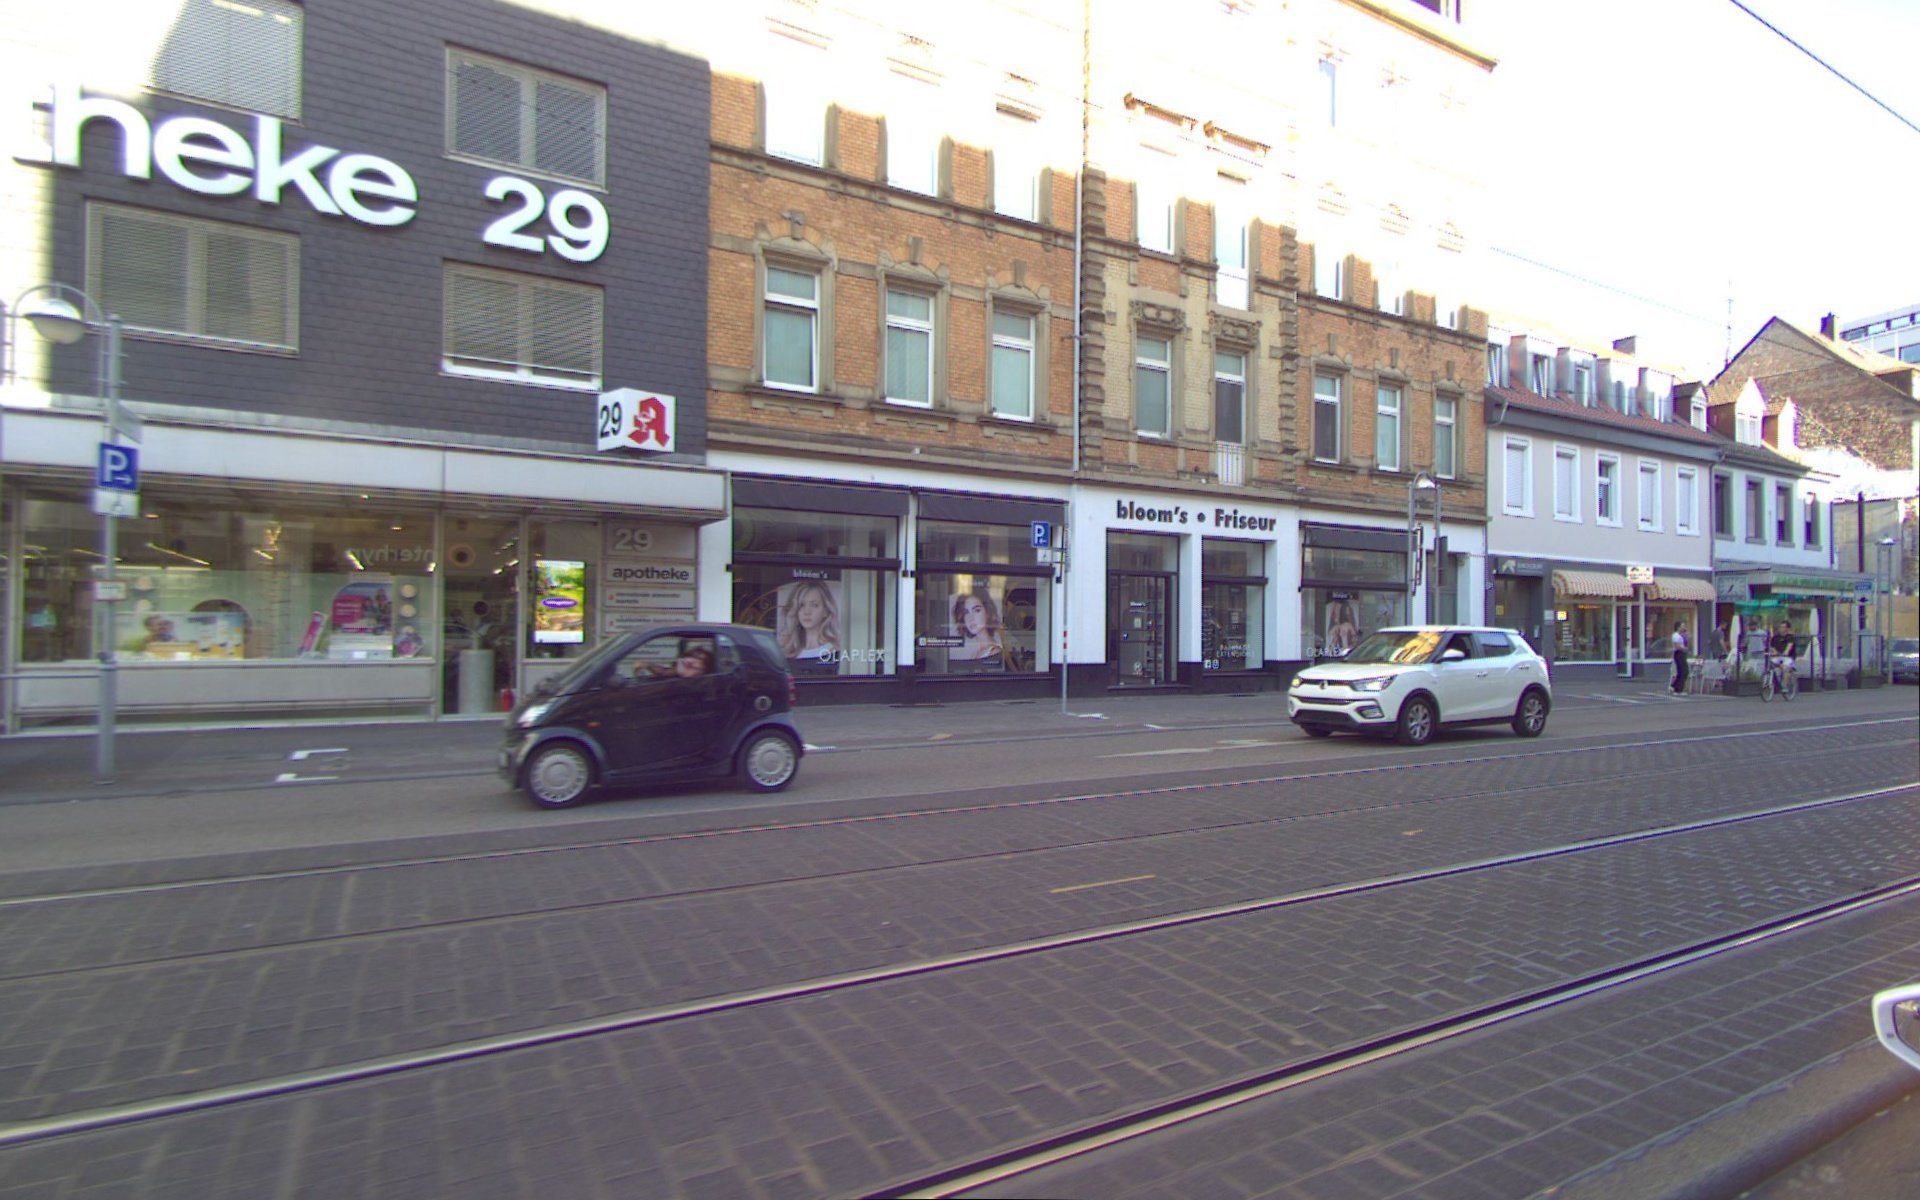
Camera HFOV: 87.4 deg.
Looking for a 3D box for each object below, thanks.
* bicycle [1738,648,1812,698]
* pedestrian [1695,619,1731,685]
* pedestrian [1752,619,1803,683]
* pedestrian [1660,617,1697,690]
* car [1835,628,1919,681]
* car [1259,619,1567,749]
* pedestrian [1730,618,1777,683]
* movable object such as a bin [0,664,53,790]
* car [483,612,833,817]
[{"bbox_3d":[19.109,1.701,23.555,1.926,1.130,0.576,1,-1,-25],"label":"bicycle"},{"bbox_3d":[21.621,1.481,28.842,0.636,1.847,0.652,1,-1,-35],"label":"pedestrian"},{"bbox_3d":[19.217,1.195,23.609,0.862,1.463,0.622,2,-1,-25],"label":"pedestrian"},{"bbox_3d":[18.059,1.341,25.248,0.603,1.799,0.718,0,-1,22],"label":"pedestrian"},{"bbox_3d":[30.746,1.786,32.719,4.702,1.552,1.984,3,-1,-31],"label":"car"},{"bbox_3d":[6.506,1.126,14.365,4.211,1.615,1.882,1,-3,-29],"label":"car"},{"bbox_3d":[22.660,1.429,28.686,0.680,1.799,0.881,1,-1,-31],"label":"pedestrian"},{"bbox_3d":[-9.163,1.174,9.444,0.690,1.077,1.094,1,0,-29],"label":"movable object such as a bin"},{"bbox_3d":[-2.773,0.931,9.225,2.795,1.586,1.641,1,-1,-29],"label":"car"}]
